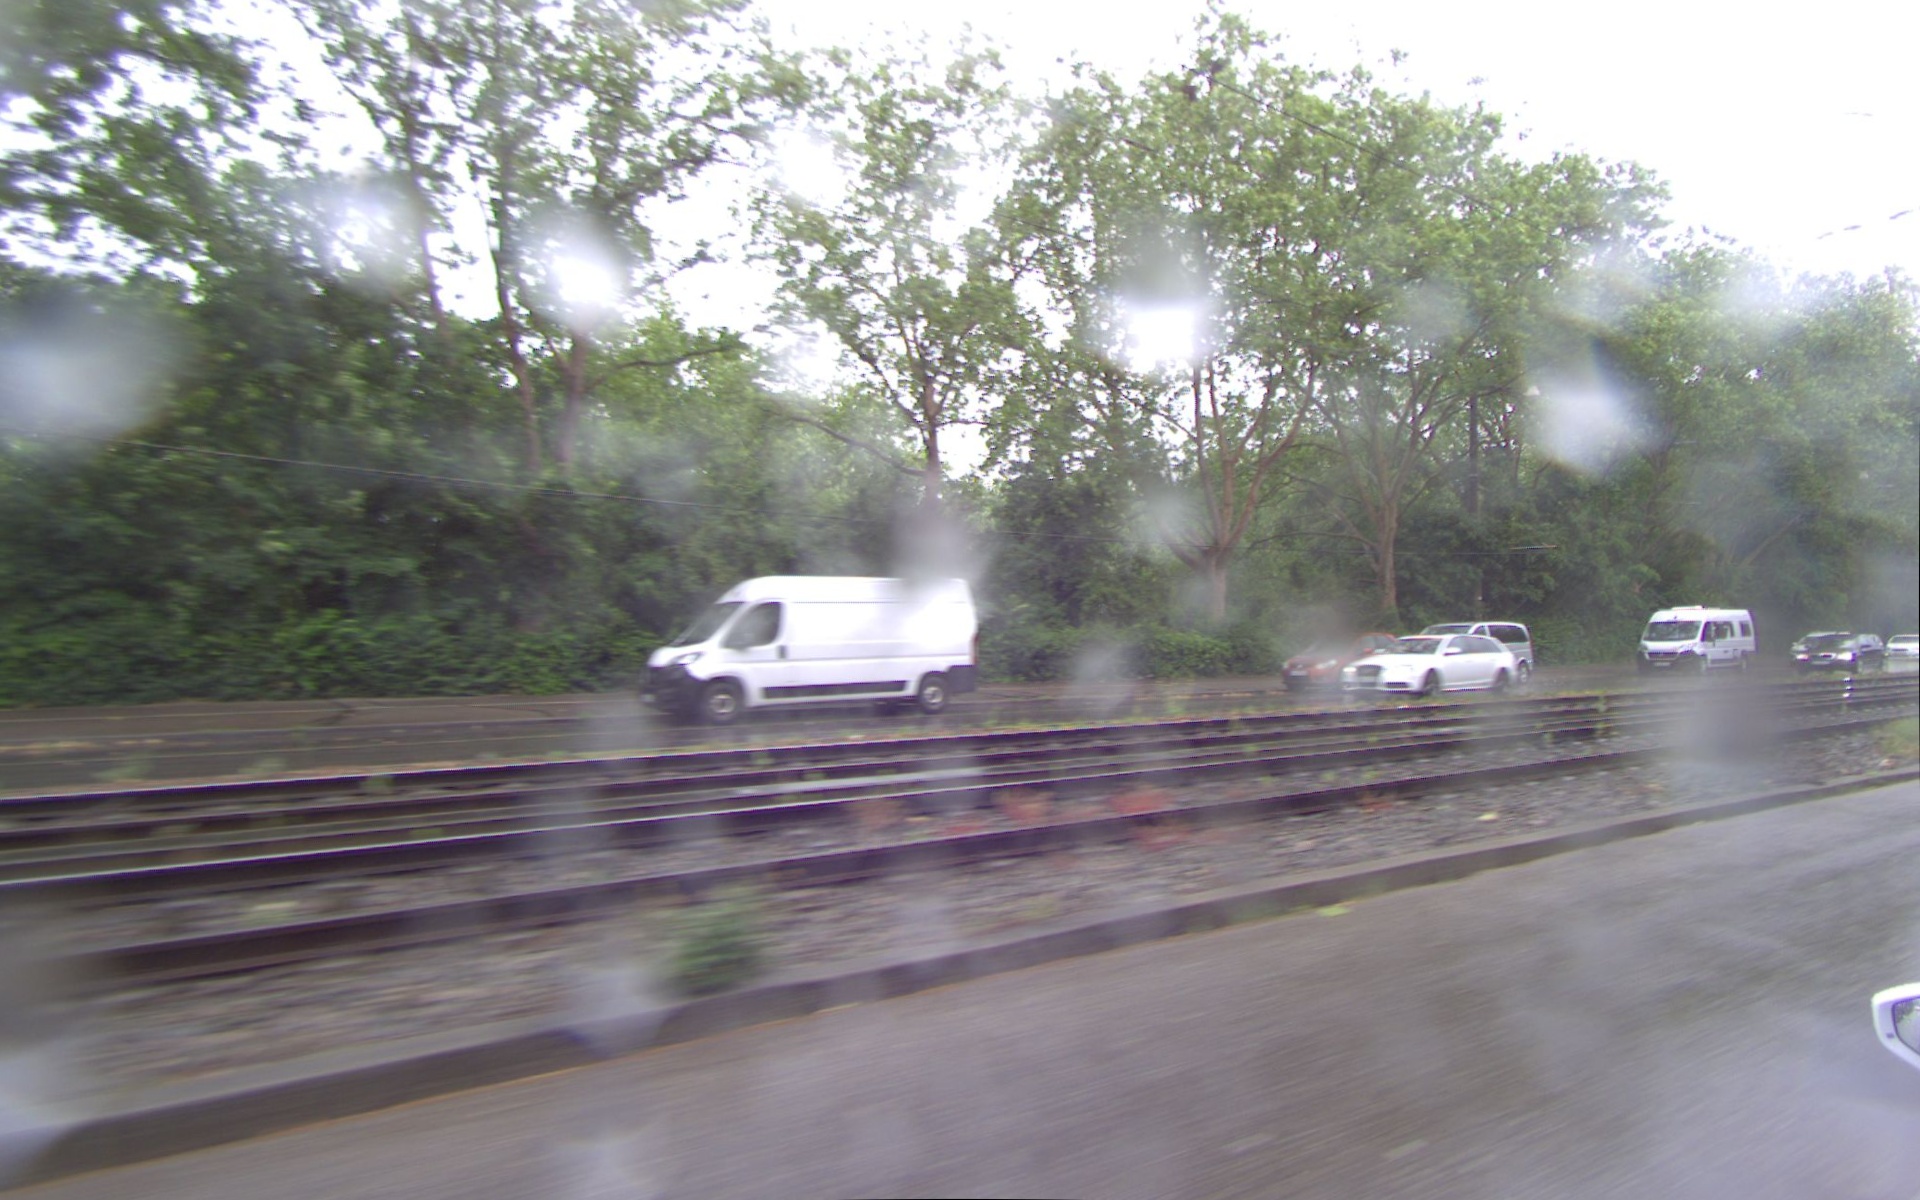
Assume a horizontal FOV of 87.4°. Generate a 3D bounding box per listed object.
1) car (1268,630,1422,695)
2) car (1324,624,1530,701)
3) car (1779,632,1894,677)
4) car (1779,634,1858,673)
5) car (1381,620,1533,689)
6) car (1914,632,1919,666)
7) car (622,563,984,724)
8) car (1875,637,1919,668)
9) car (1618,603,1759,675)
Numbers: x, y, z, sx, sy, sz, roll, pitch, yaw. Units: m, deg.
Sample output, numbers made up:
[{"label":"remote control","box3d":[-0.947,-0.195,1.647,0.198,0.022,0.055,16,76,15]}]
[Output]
[{"label":"car","box3d":[10.183,1.606,26.502,3.982,1.572,1.807,1,-3,-33]},{"label":"car","box3d":[10.655,1.362,22.792,4.946,1.572,2.020,1,-3,-35]},{"label":"car","box3d":[32.098,1.966,36.766,4.518,1.572,2.022,1,-3,-33]},{"label":"car","box3d":[40.408,2.504,47.238,4.486,1.750,1.739,1,-3,-35]},{"label":"car","box3d":[14.712,1.575,29.668,4.591,1.886,1.946,1,-3,-33]},{"label":"car","box3d":[47.102,2.303,47.450,4.720,1.587,1.966,1,-3,-35]},{"label":"car","box3d":[-2.691,0.783,18.107,6.075,2.478,2.316,2,-3,-34]},{"label":"car","box3d":[53.871,2.973,57.217,3.775,1.670,1.750,1,-3,-35]},{"label":"car","box3d":[28.100,1.506,38.672,6.500,2.574,2.374,1,-3,-35]}]
